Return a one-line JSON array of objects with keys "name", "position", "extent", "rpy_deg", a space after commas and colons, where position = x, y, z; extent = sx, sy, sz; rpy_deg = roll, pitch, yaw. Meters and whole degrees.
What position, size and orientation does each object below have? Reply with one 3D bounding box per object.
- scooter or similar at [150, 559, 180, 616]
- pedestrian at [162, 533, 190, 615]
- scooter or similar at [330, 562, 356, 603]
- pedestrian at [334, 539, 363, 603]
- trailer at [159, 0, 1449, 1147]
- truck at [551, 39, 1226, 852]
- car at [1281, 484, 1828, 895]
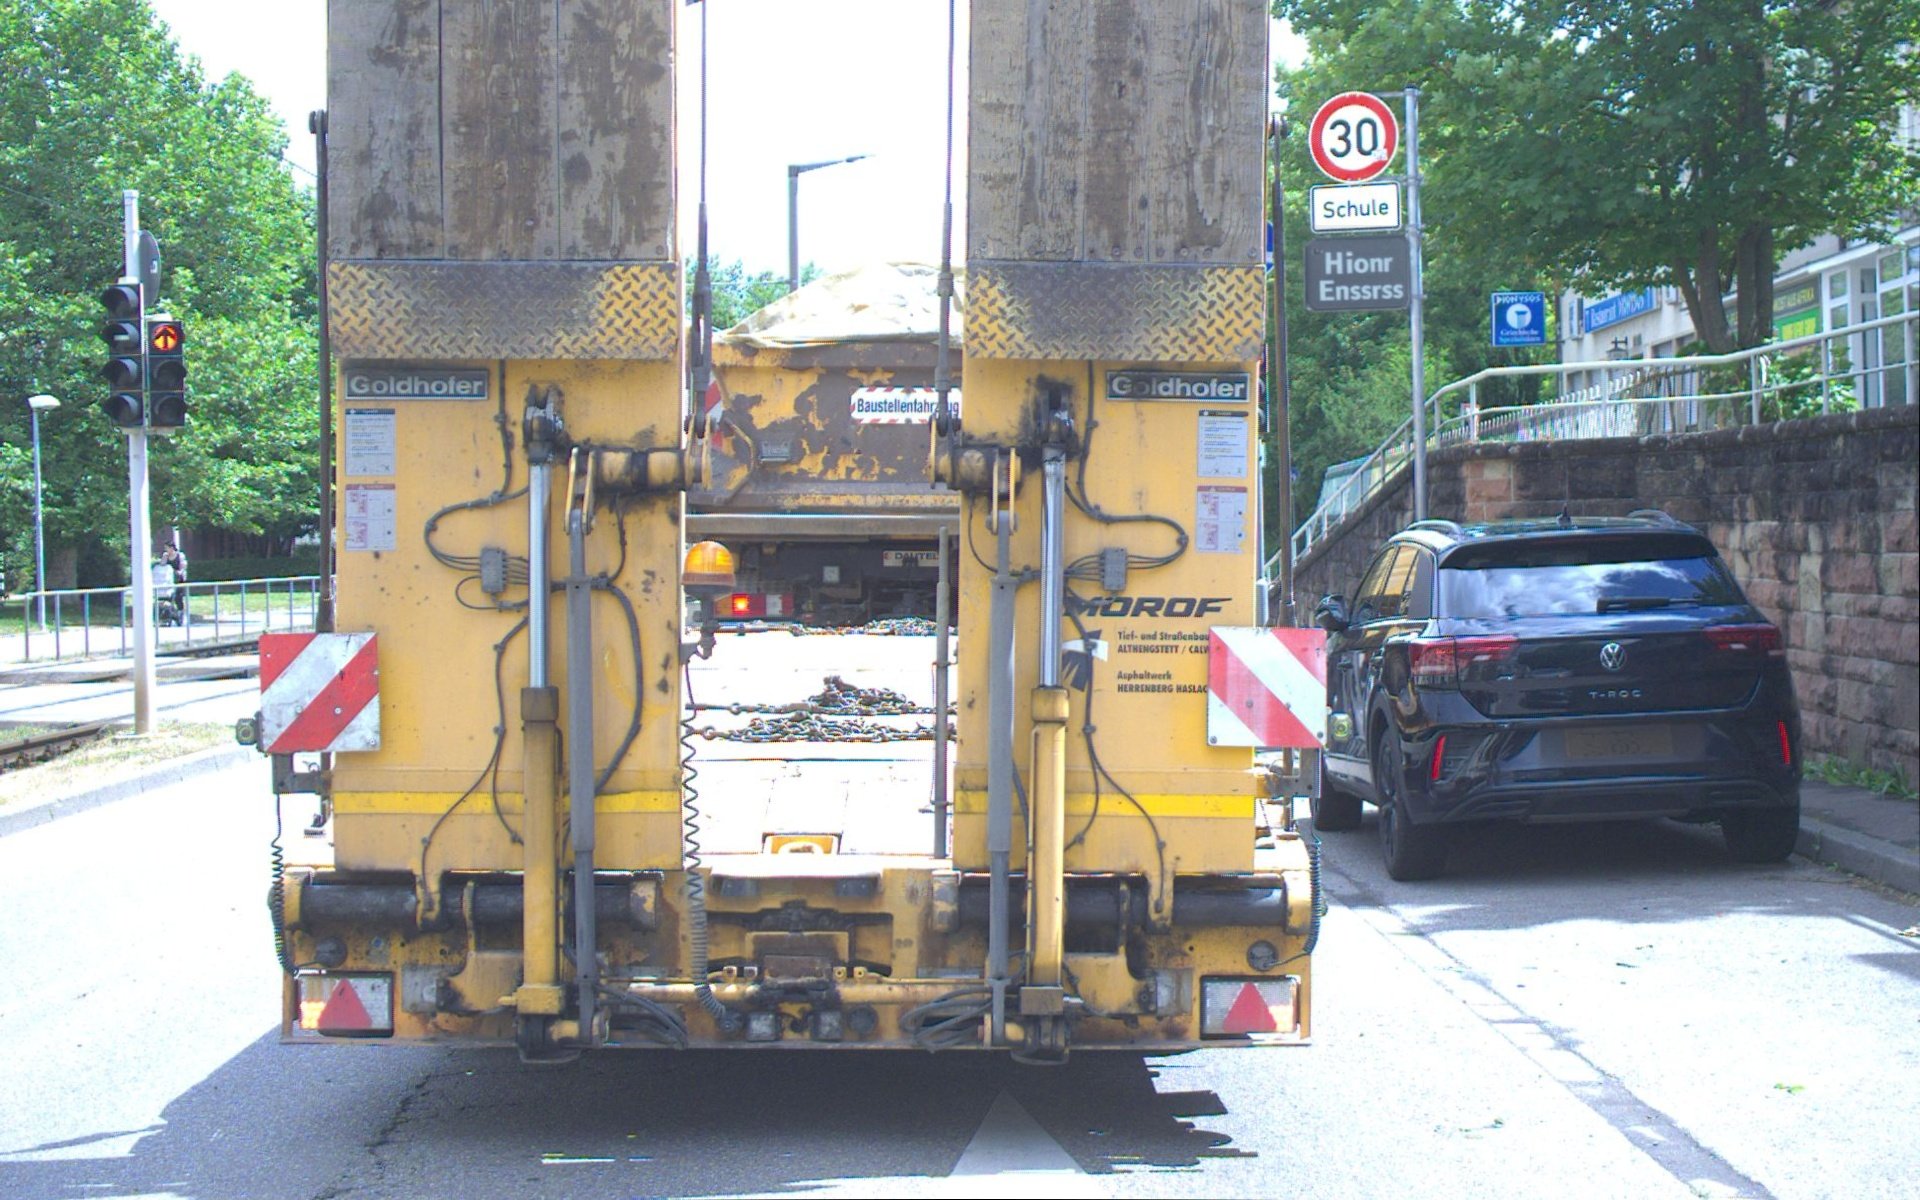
[{"name": "scooter or similar", "position": [-14.926, -0.247, 64.586], "extent": [0.338, 1.054, 0.687], "rpy_deg": [-1, 1, 5]}, {"name": "pedestrian", "position": [-14.878, -0.500, 65.220], "extent": [0.348, 1.531, 0.557], "rpy_deg": [-1, 1, 3]}, {"name": "scooter or similar", "position": [-14.529, -0.413, 80.976], "extent": [0.505, 0.968, 0.646], "rpy_deg": [1, 1, -1]}, {"name": "pedestrian", "position": [-14.517, -0.689, 81.624], "extent": [0.563, 1.508, 0.646], "rpy_deg": [1, 1, -1]}, {"name": "trailer", "position": [-0.342, -0.635, 12.301], "extent": [2.945, 3.589, 8.684], "rpy_deg": [-1, 1, 0]}, {"name": "truck", "position": [-0.313, -0.732, 17.710], "extent": [2.942, 3.560, 4.877], "rpy_deg": [-1, 1, 0]}, {"name": "car", "position": [2.646, 0.334, 16.222], "extent": [1.851, 1.633, 4.000], "rpy_deg": [-2, 1, 0]}]
